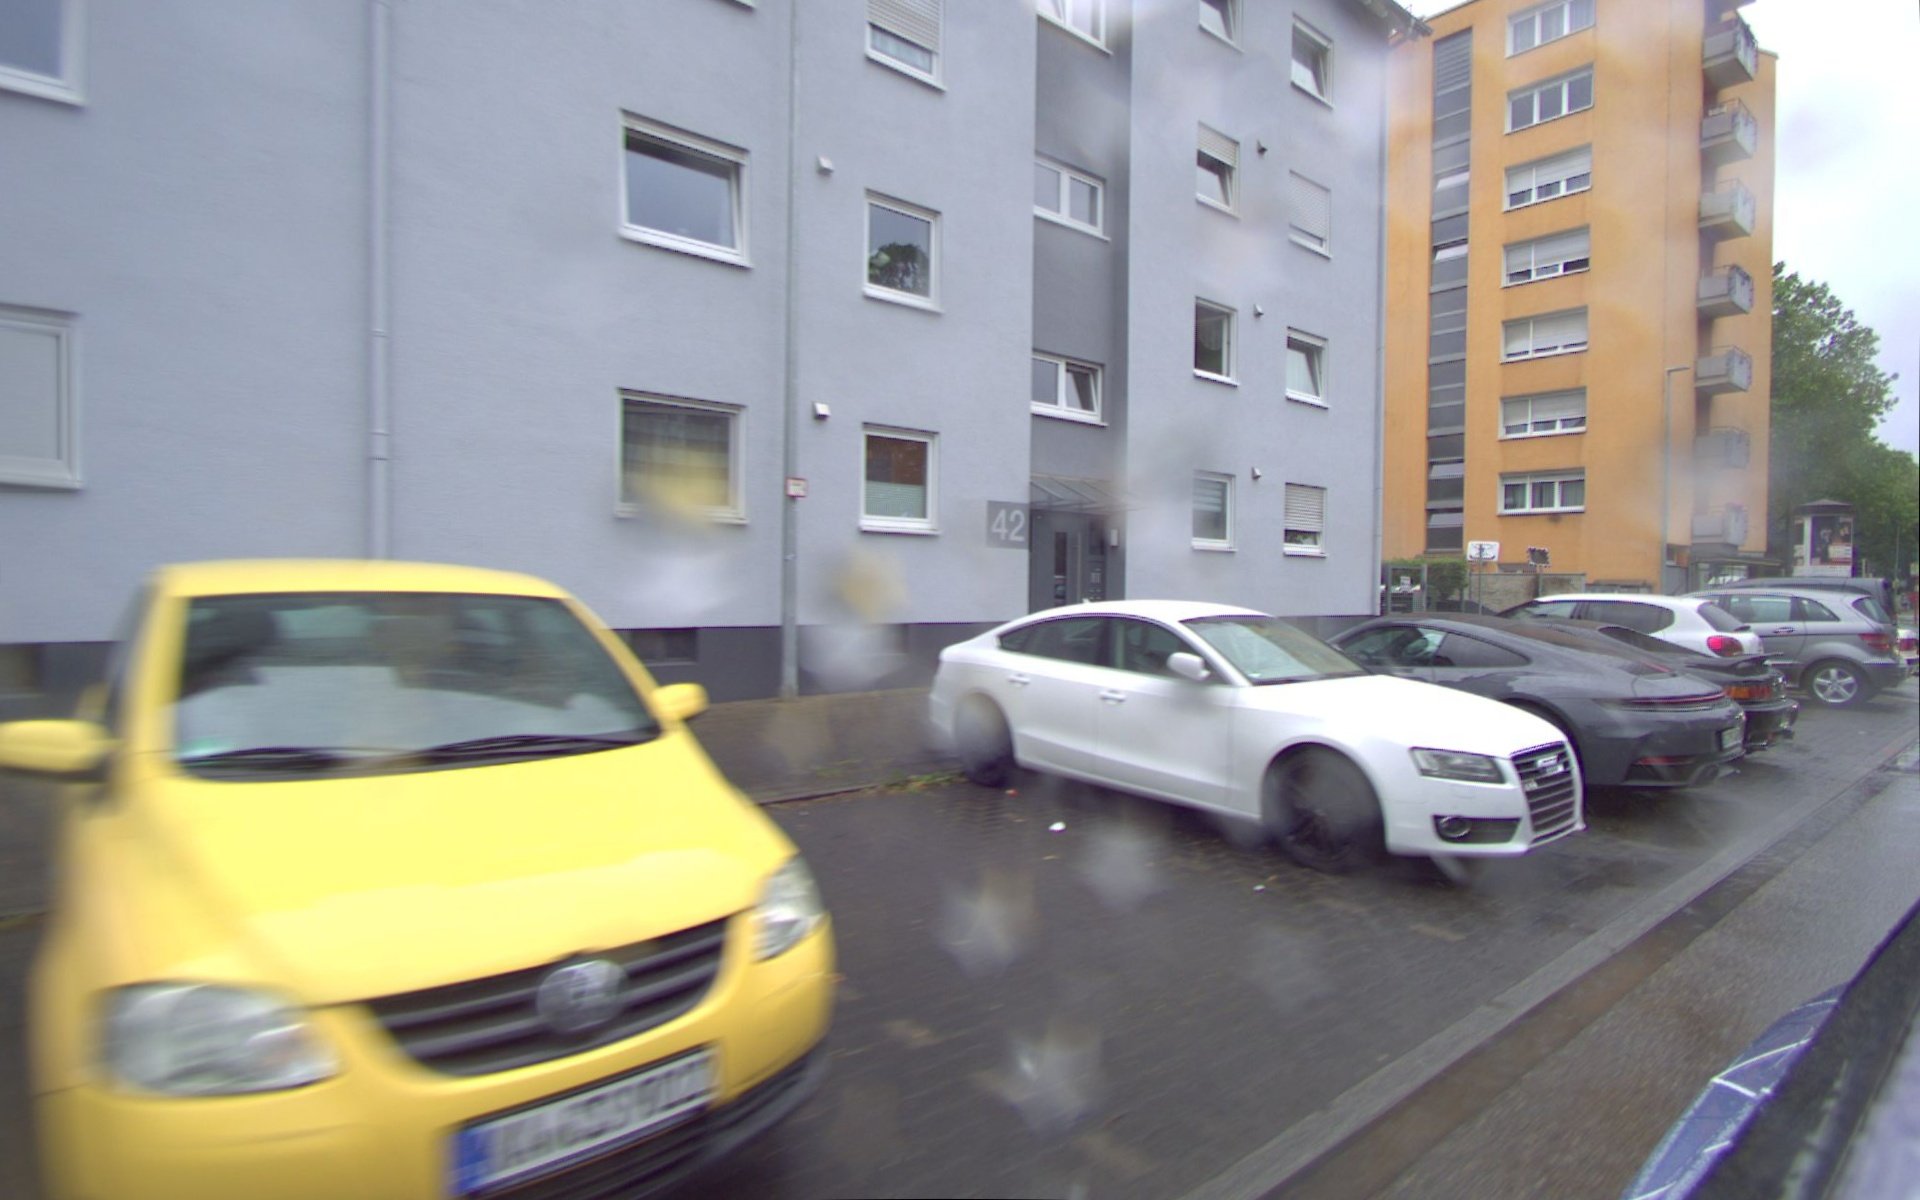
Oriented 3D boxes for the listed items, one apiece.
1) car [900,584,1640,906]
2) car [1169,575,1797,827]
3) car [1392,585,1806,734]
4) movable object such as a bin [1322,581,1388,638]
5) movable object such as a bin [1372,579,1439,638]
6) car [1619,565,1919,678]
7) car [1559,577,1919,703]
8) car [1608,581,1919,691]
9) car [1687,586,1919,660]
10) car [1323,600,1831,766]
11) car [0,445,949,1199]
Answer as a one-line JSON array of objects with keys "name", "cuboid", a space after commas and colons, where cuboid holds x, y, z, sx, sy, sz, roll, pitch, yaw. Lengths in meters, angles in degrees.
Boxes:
[{"name": "car", "cuboid": [1.707, 0.638, 7.020, 1.964, 1.454, 4.639, 0, 0, -38]}, {"name": "car", "cuboid": [3.994, 0.587, 8.291, 1.977, 1.505, 4.151, 0, 0, -40]}, {"name": "car", "cuboid": [7.475, 0.562, 12.101, 1.805, 1.472, 3.860, 0, 1, -42]}, {"name": "movable object such as a bin", "cuboid": [9.900, 0.218, 25.365, 0.936, 1.395, 1.220, 1, 0, -33]}, {"name": "movable object such as a bin", "cuboid": [10.687, 0.192, 24.299, 0.806, 1.395, 1.240, 1, 0, -33]}, {"name": "car", "cuboid": [14.938, 0.290, 18.739, 1.912, 1.827, 4.237, 0, 2, -43]}, {"name": "car", "cuboid": [11.487, 0.494, 14.952, 1.857, 1.591, 4.188, 0, 0, -41]}, {"name": "car", "cuboid": [13.380, 0.488, 16.689, 1.856, 1.588, 4.196, 0, 1, -42]}, {"name": "car", "cuboid": [19.573, 0.449, 23.069, 1.948, 1.488, 4.543, -1, 2, -40]}, {"name": "car", "cuboid": [5.847, 0.643, 9.966, 1.920, 1.223, 3.864, 0, 1, -38]}, {"name": "car", "cuboid": [-2.019, 0.563, 3.400, 1.821, 1.571, 3.993, 0, 0, -41]}]
